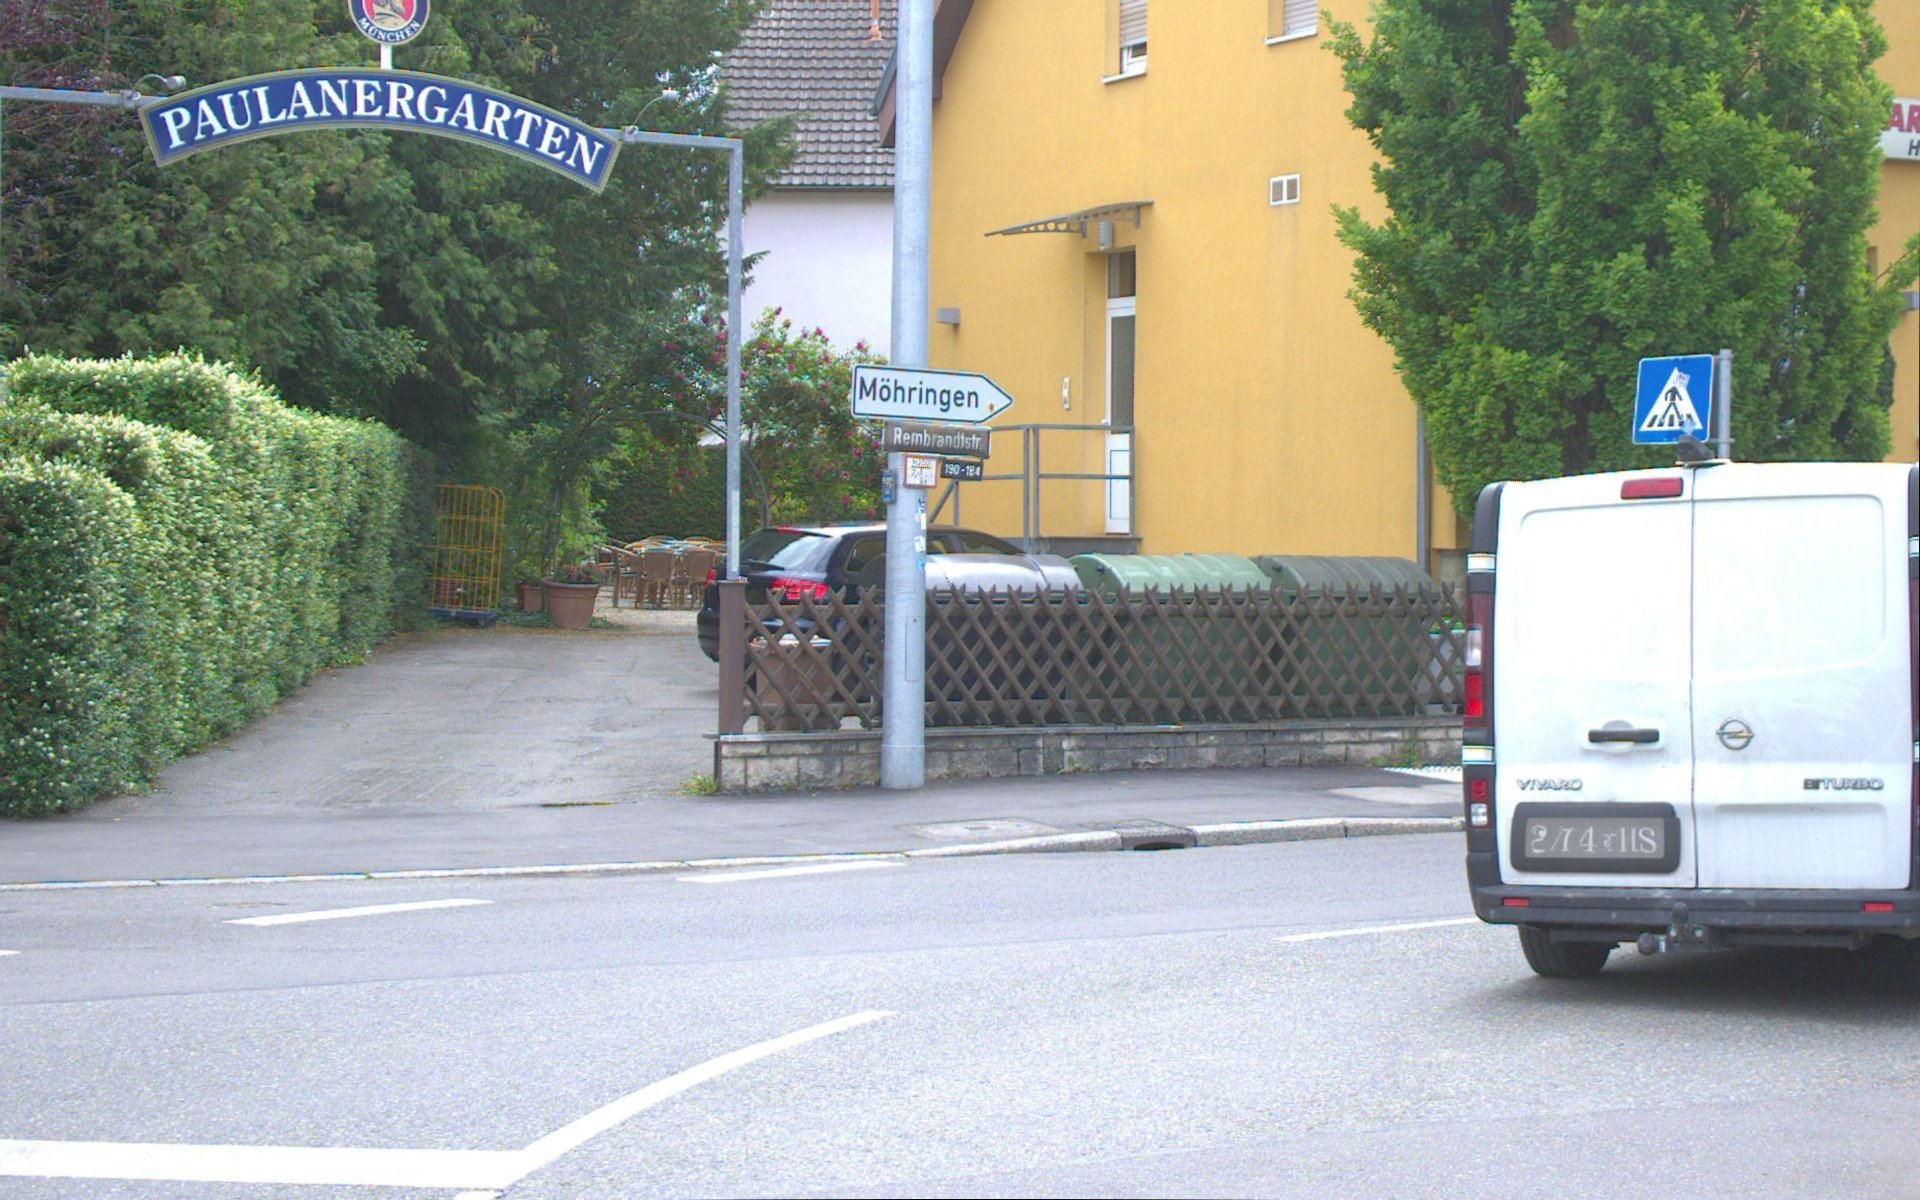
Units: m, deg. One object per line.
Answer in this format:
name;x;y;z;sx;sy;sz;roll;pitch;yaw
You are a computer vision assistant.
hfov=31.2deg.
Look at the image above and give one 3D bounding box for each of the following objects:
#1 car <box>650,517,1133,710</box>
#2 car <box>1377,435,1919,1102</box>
car;-0.554;0.066;28.747;3.668;1.422;1.727;-1;4;-34
car;3.742;0.495;13.814;2.120;2.127;5.432;2;2;30
